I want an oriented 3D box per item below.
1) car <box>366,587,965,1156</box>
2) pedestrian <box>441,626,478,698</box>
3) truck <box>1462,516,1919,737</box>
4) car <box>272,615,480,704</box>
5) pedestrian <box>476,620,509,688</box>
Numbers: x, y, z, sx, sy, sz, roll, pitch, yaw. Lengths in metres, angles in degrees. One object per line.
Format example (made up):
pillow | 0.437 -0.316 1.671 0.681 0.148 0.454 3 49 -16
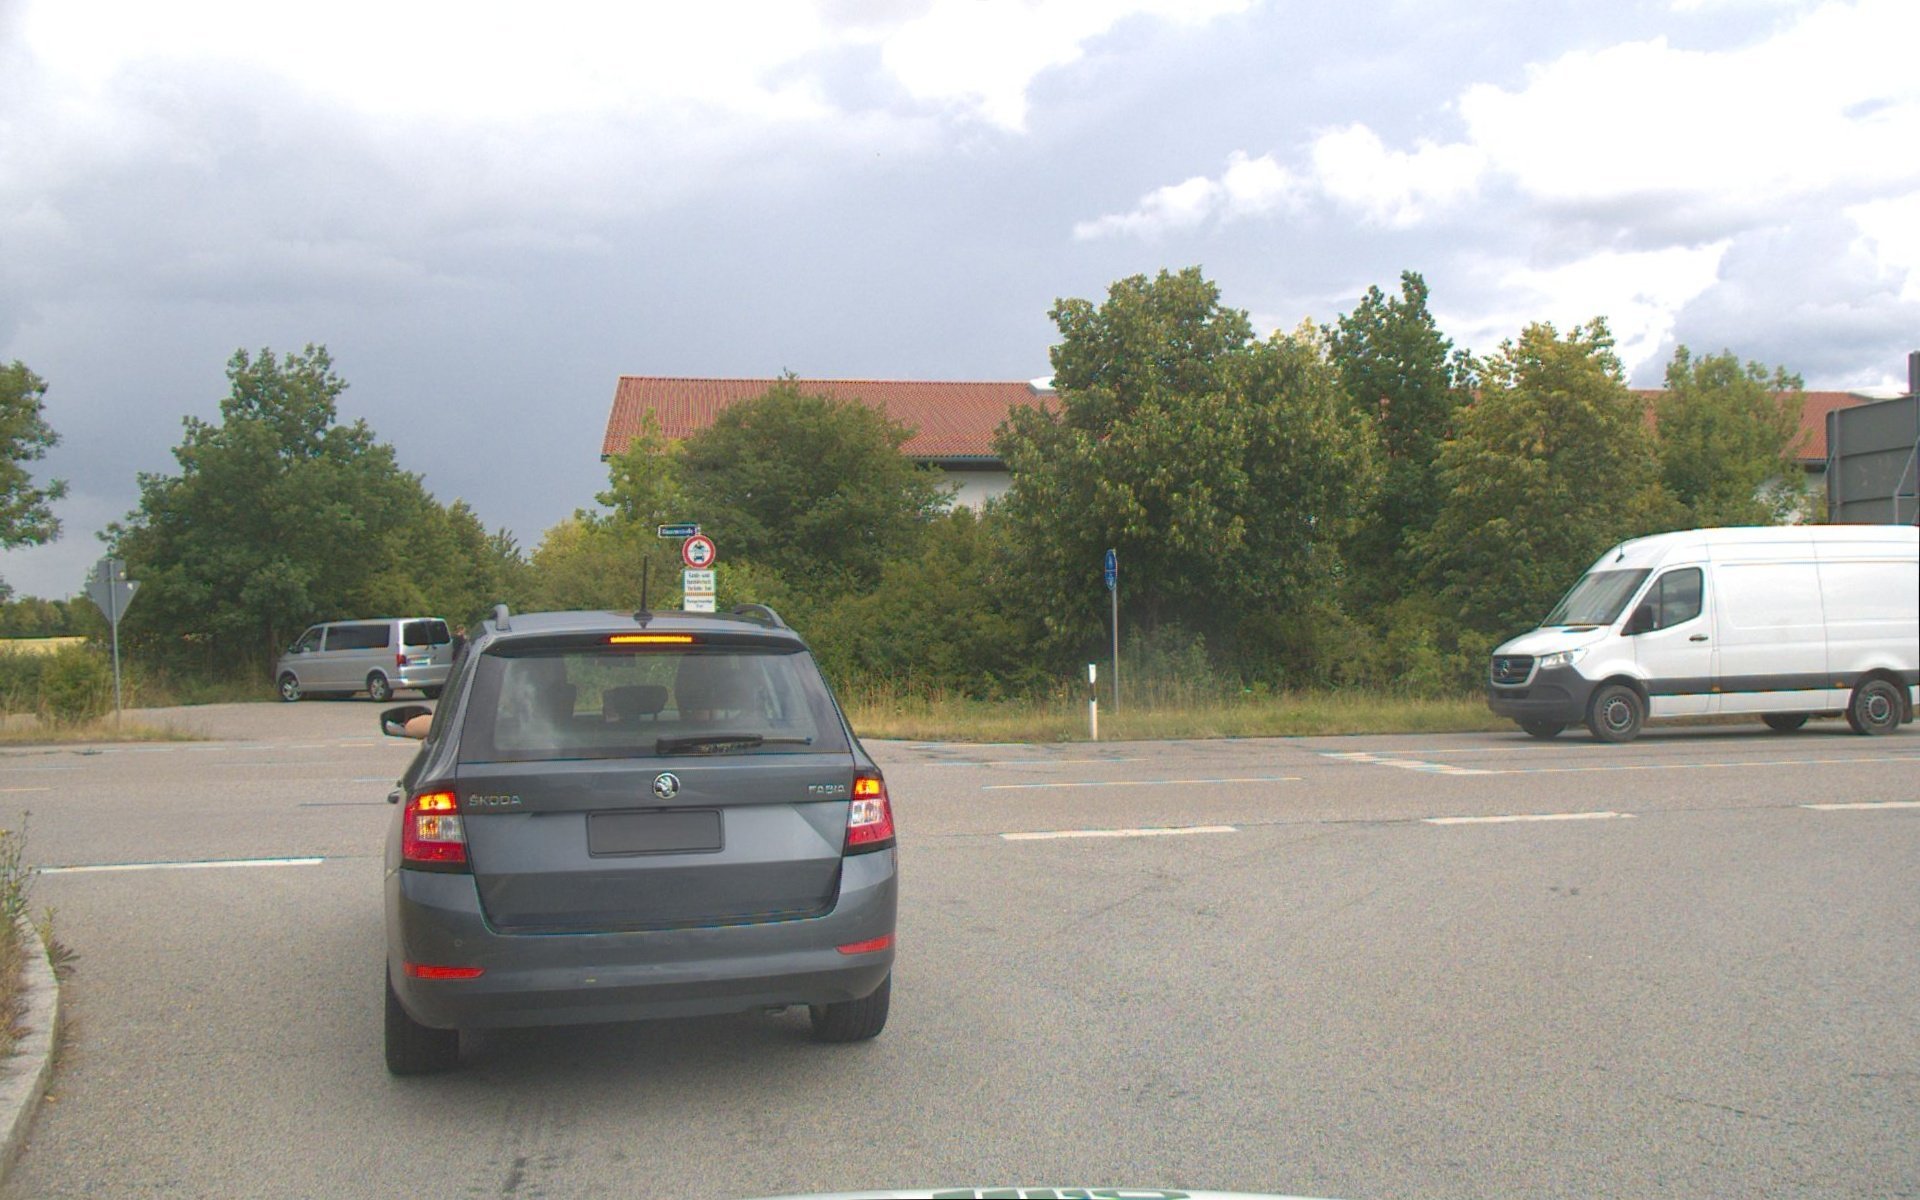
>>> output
car | -1.310 0.748 6.370 1.650 1.488 3.689 0 -1 -17
pedestrian | -12.410 1.534 41.015 0.518 1.756 0.641 -1 1 29
truck | 9.728 0.317 21.403 5.887 2.621 1.995 -1 -2 -10
car | -14.666 1.469 41.491 4.807 2.049 2.338 -1 1 30
pedestrian | -12.068 1.393 42.690 0.571 1.712 0.566 -1 0 17
